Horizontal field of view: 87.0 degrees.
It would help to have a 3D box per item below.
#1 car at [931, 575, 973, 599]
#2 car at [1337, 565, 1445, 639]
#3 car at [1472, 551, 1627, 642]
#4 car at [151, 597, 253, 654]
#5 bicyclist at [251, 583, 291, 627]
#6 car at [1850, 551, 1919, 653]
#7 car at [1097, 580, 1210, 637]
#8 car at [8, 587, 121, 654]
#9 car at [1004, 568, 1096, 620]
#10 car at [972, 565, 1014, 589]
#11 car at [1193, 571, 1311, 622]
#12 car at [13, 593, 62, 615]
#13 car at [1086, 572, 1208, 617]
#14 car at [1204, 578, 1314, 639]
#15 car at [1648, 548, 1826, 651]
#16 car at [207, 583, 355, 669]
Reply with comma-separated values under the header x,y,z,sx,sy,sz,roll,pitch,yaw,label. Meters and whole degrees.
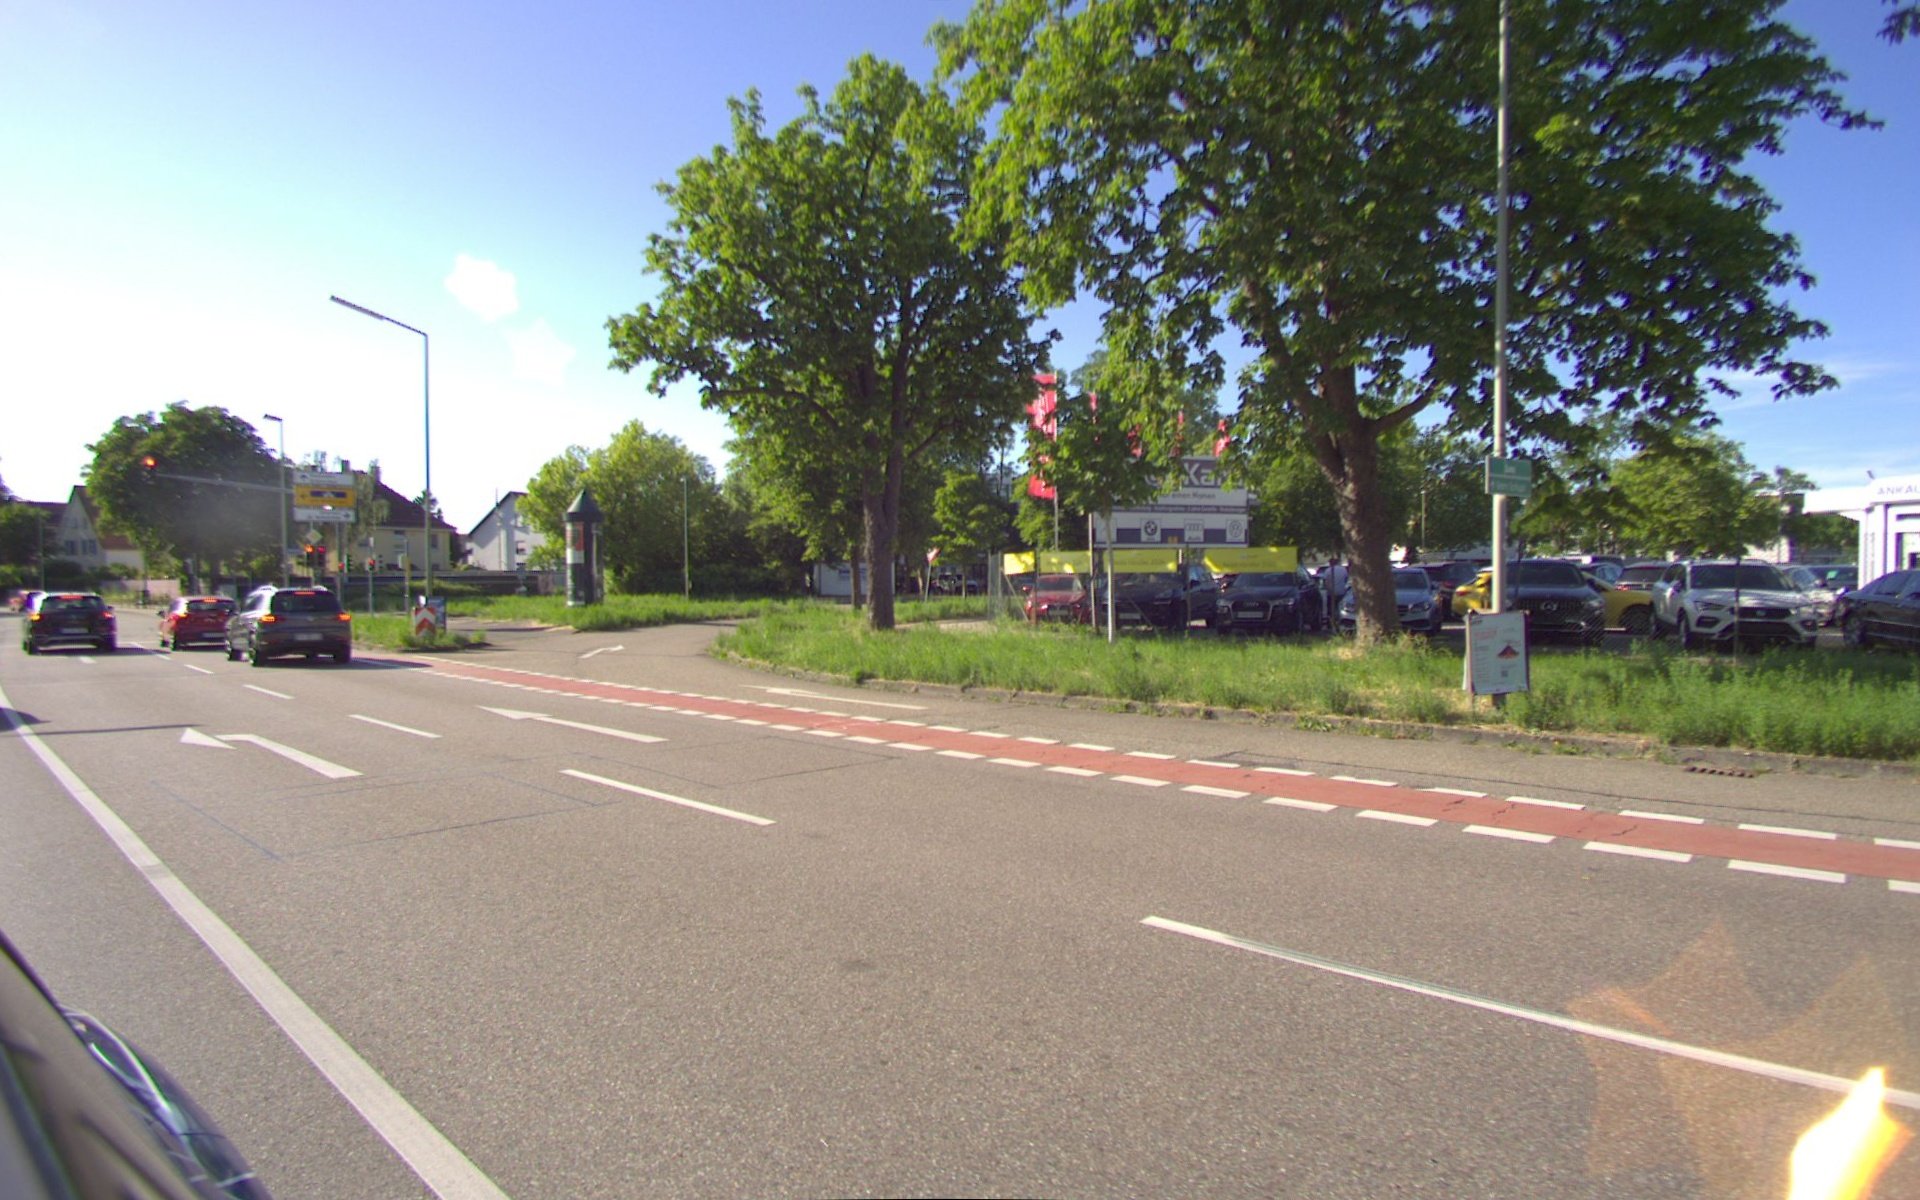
x,y,z,sx,sy,sz,roll,pitch,yaw,label
-0.707,-1.113,89.002,1.966,2.029,4.013,-2,1,-29,car
9.183,0.000,21.592,1.934,1.423,3.849,-1,1,24,car
11.308,-0.087,19.692,1.986,1.572,3.971,-1,1,22,car
-21.136,0.643,28.165,1.763,1.425,3.893,-1,1,-44,car
-22.575,0.165,33.156,0.922,1.412,0.823,-2,1,-44,bicyclist
15.674,0.018,15.303,1.800,1.587,4.380,-1,1,20,car
4.860,0.163,25.008,2.030,1.249,3.905,-1,1,22,car
-23.484,0.515,26.502,4.001,1.611,1.892,-1,0,44,car
2.695,-0.212,29.202,2.334,1.319,5.047,-1,1,9,car
2.935,-2.043,91.207,1.966,2.029,4.013,-2,1,-29,car
9.213,-0.146,31.788,3.940,1.517,1.835,-2,1,-44,car
-65.675,0.247,72.097,1.832,1.480,4.150,-1,2,-32,car
6.553,-0.219,35.715,1.719,1.472,4.004,-1,1,-43,car
6.855,0.150,22.946,2.030,1.249,3.905,-1,1,22,car
13.660,-0.055,18.043,1.914,1.623,3.961,0,1,29,car
-15.169,0.542,22.533,4.270,1.749,1.832,-1,0,43,car
